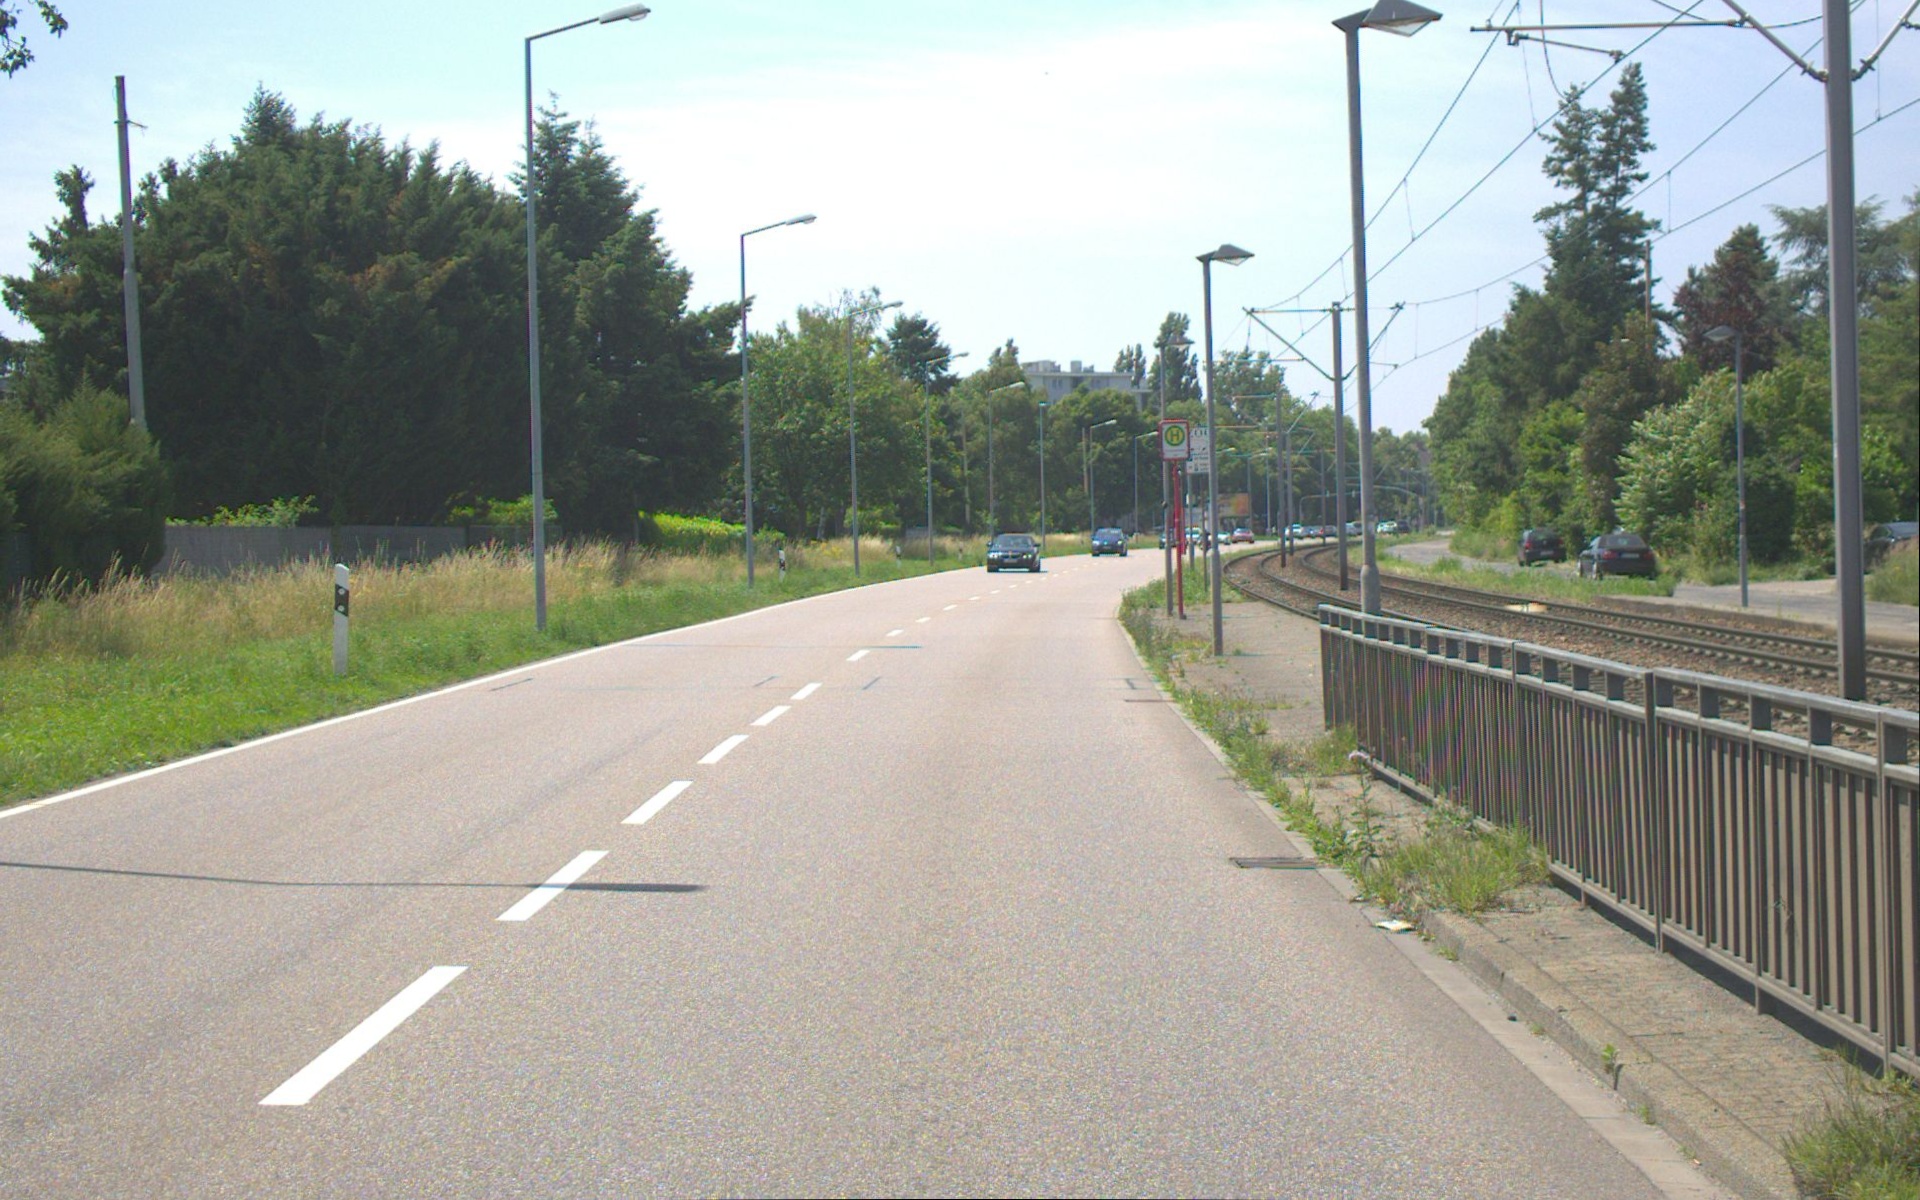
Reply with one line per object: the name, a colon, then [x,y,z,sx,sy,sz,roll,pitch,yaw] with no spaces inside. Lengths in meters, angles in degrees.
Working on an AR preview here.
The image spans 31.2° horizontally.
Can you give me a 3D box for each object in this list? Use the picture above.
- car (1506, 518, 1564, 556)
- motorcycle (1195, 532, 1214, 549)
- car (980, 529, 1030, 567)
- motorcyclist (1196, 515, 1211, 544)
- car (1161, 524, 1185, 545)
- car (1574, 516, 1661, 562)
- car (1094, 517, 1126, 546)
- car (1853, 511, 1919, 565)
car: [22.505,-2.473,134.722,1.914,1.465,3.999,0,1,5]
motorcycle: [16.033,-3.927,225.371,0.970,1.113,2.732,0,1,9]
car: [1.718,-1.976,130.240,1.706,1.399,4.707,0,1,3]
motorcyclist: [15.967,-4.602,225.089,0.892,1.898,1.015,0,1,9]
car: [15.537,-4.758,250.696,1.701,1.486,4.440,0,1,5]
car: [19.445,-1.791,101.753,1.861,1.325,4.515,0,1,2]
car: [8.687,-3.938,198.668,1.747,1.626,4.029,0,1,4]
car: [25.250,-1.662,92.261,1.720,1.414,3.739,0,1,2]
